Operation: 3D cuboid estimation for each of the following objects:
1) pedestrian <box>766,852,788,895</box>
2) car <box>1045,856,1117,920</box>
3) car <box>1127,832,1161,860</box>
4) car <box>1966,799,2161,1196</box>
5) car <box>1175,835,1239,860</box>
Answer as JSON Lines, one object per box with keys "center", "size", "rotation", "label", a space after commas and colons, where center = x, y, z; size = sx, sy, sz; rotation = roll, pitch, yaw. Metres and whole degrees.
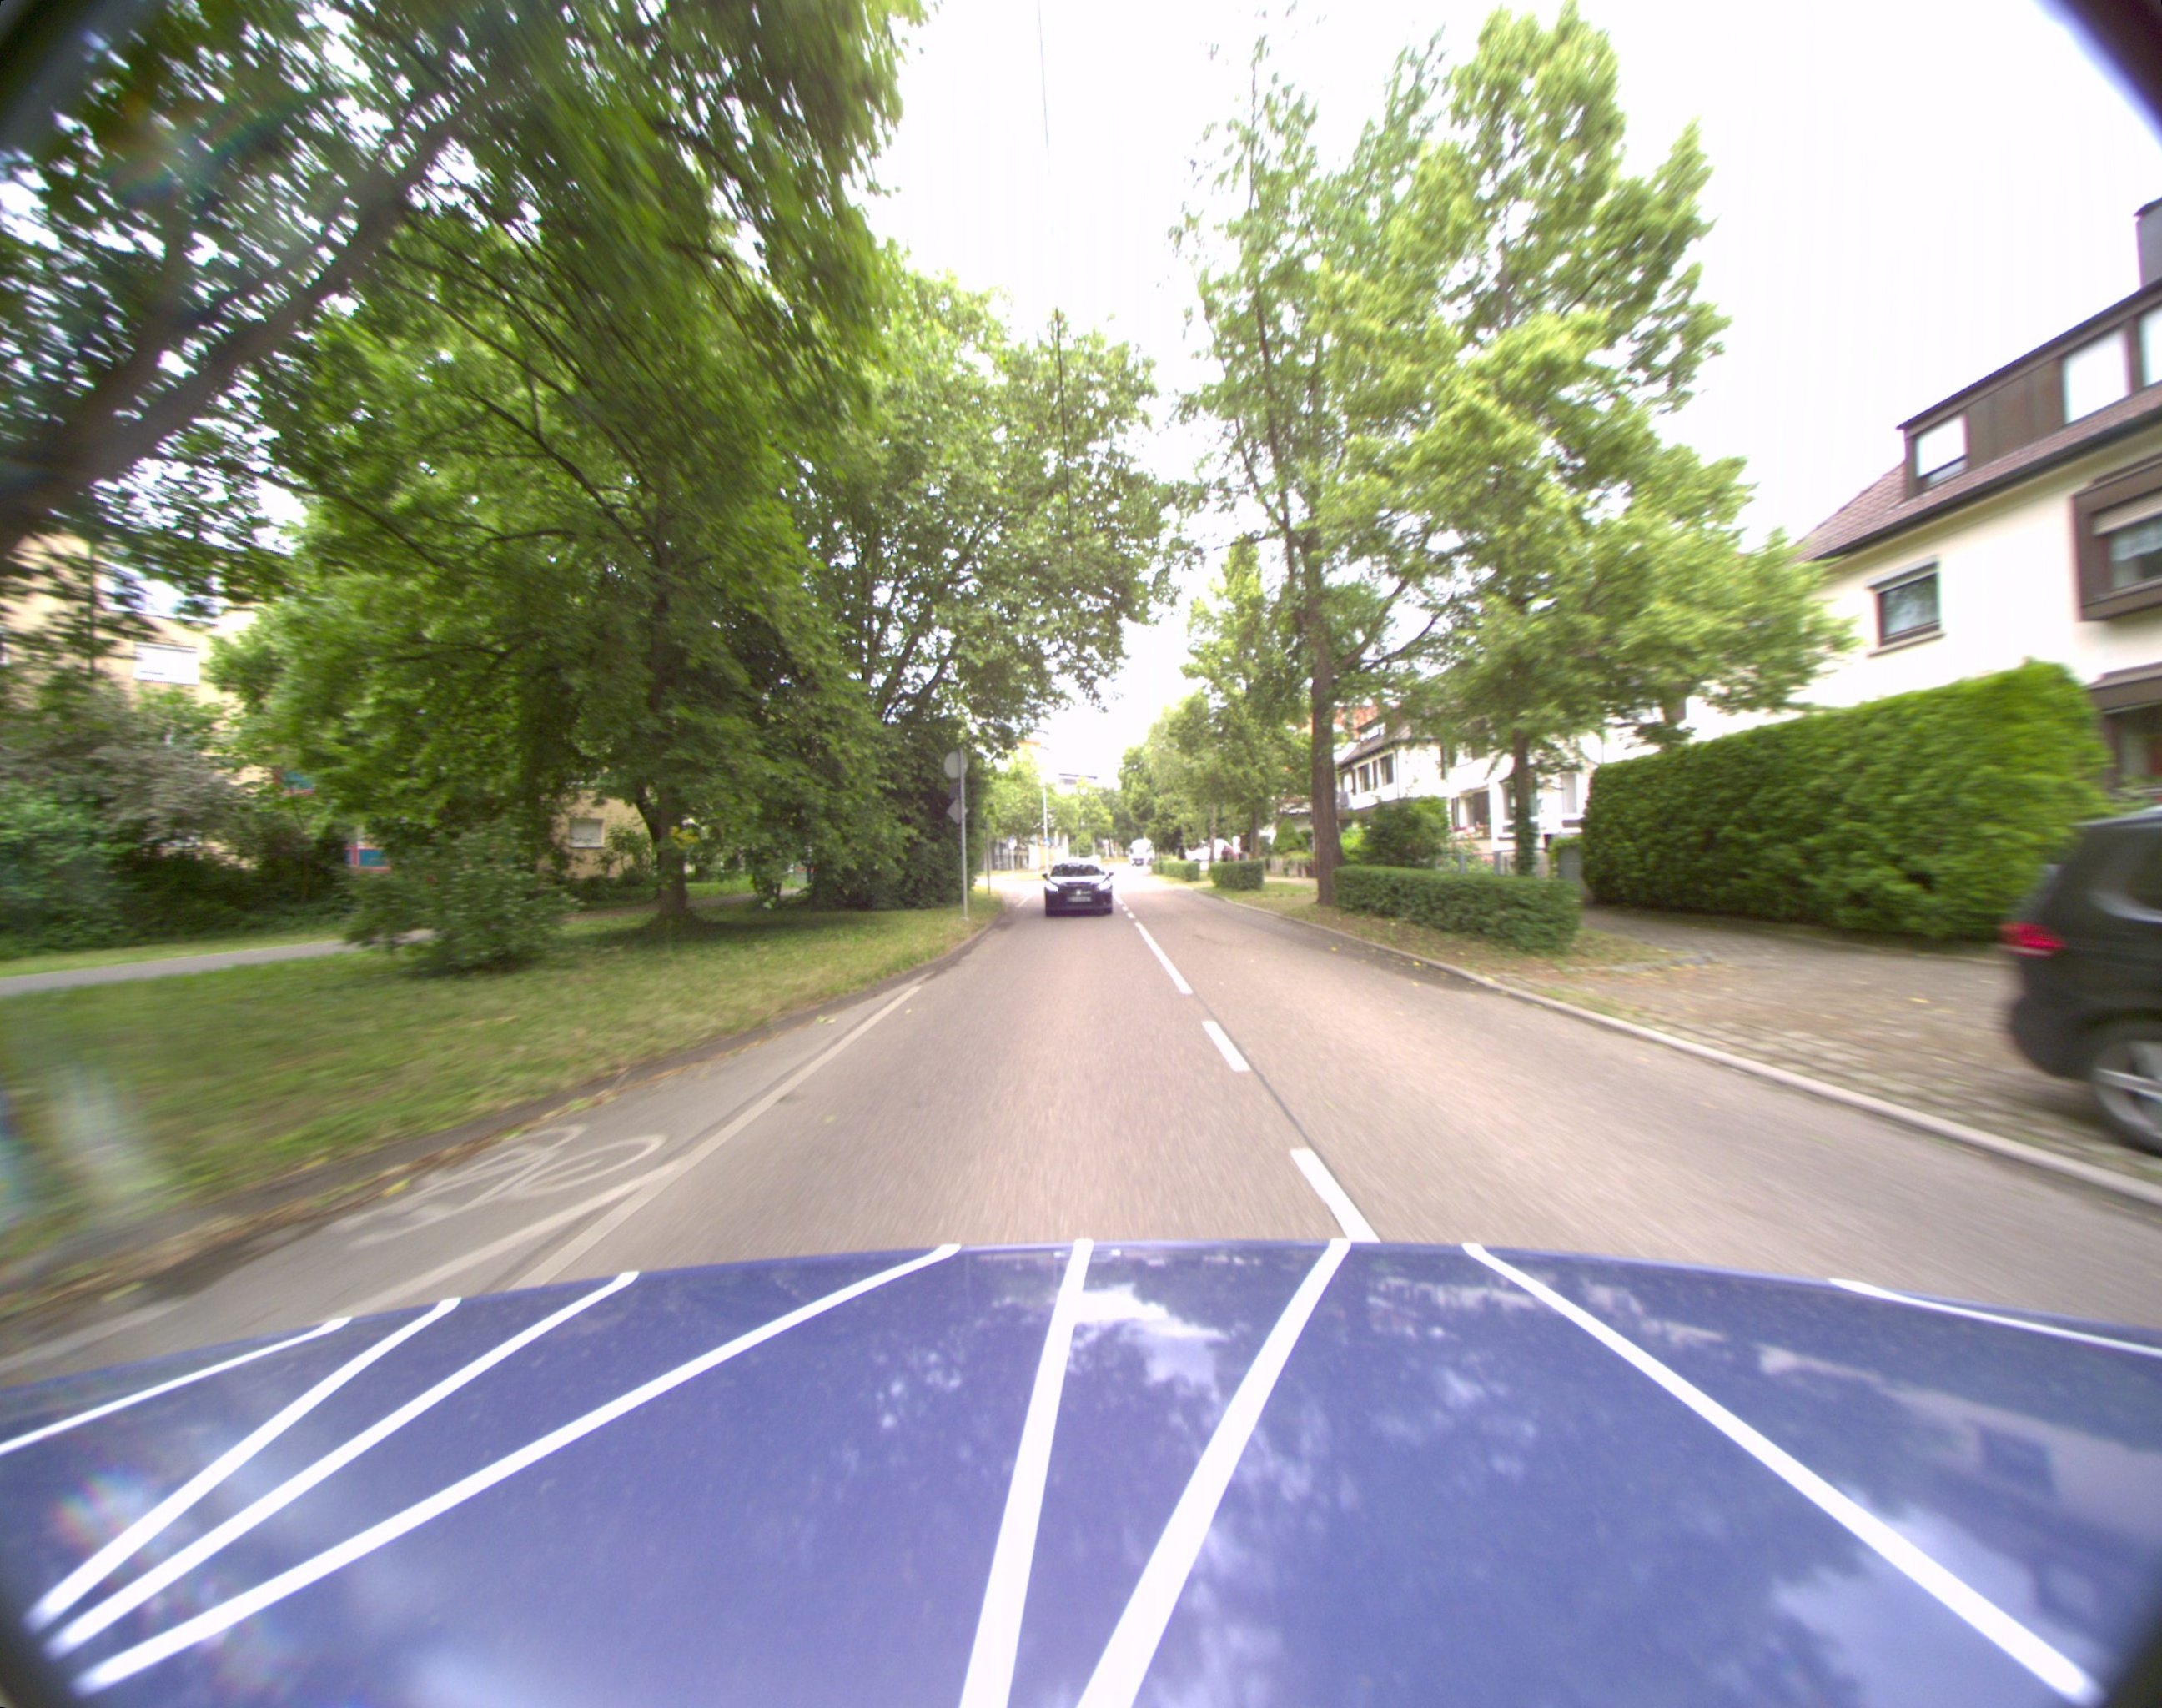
{"center": [-11.979, 0.750, 29.972], "size": [0.650, 1.651, 0.649], "rotation": [-1, 1, -10], "label": "pedestrian"}
{"center": [0.054, 0.868, 21.697], "size": [1.798, 1.552, 4.471], "rotation": [-2, 0, 1], "label": "car"}
{"center": [8.037, -1.038, 95.354], "size": [2.432, 3.256, 7.800], "rotation": [-1, 1, 18], "label": "car"}
{"center": [5.691, 0.591, 1.820], "size": [1.830, 1.744, 4.452], "rotation": [-2, 0, -2], "label": "car"}
{"center": [12.930, -0.654, 77.939], "size": [6.376, 2.334, 1.973], "rotation": [-2, 0, -21], "label": "car"}
